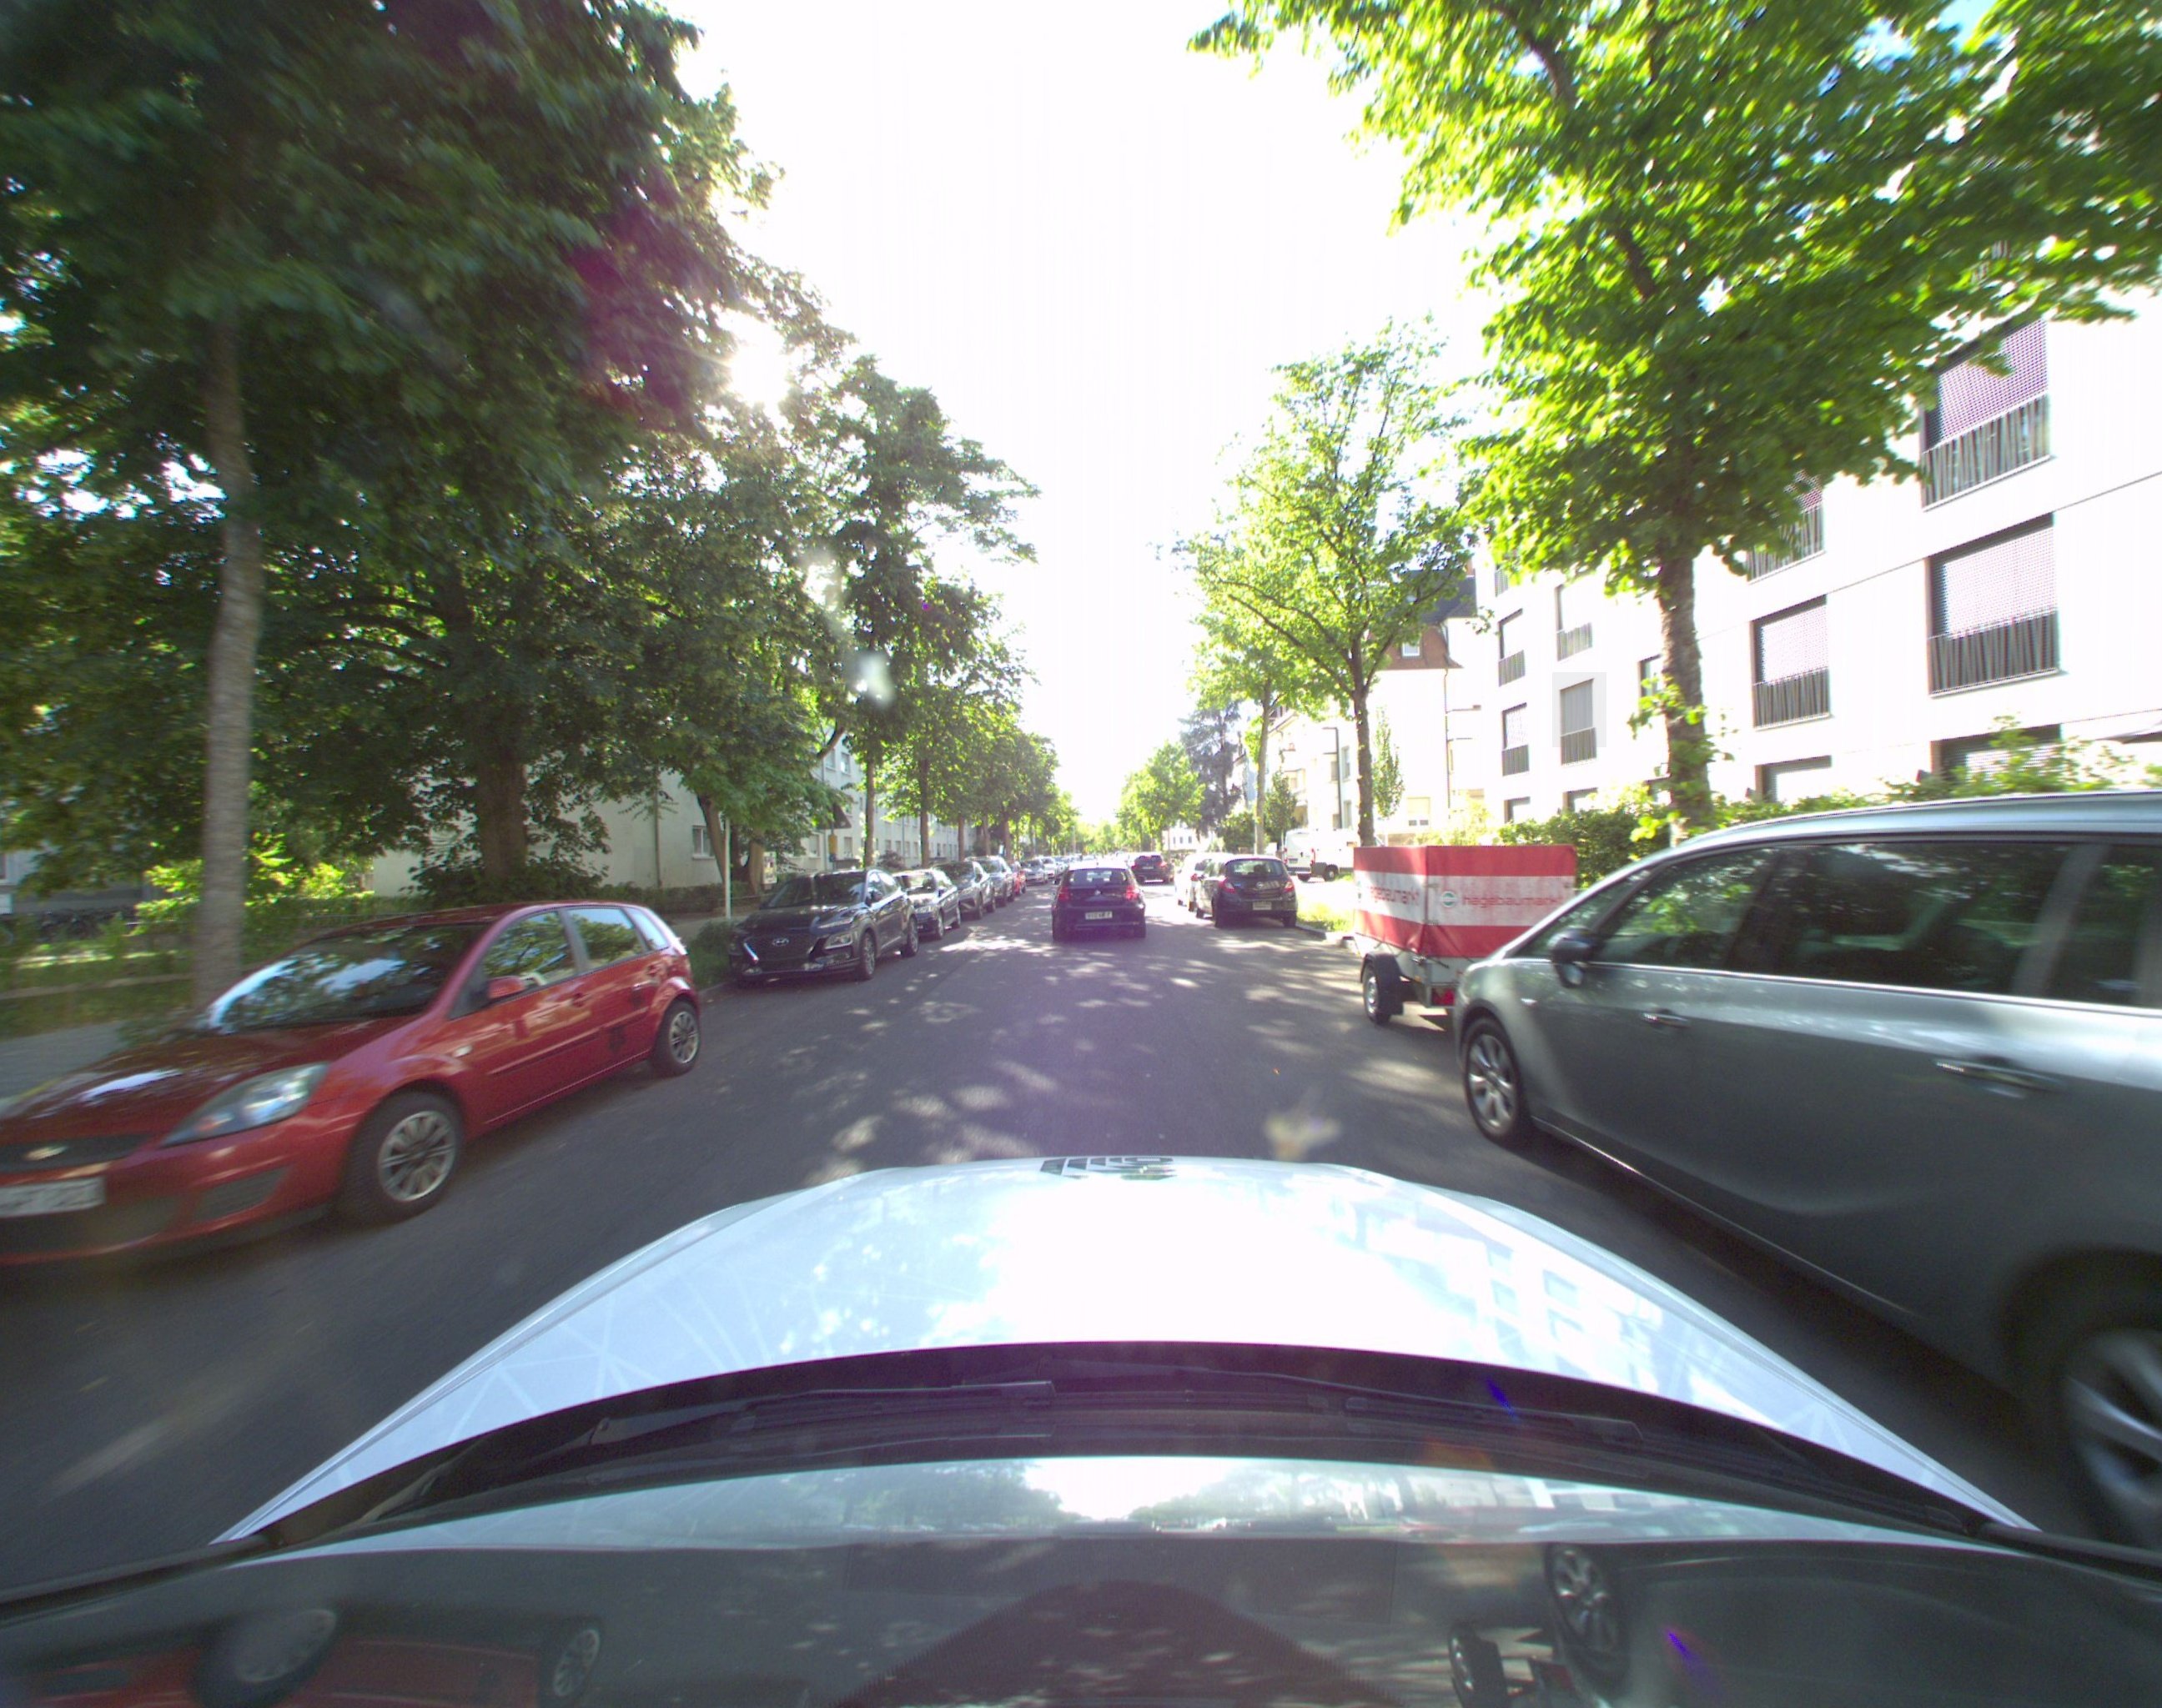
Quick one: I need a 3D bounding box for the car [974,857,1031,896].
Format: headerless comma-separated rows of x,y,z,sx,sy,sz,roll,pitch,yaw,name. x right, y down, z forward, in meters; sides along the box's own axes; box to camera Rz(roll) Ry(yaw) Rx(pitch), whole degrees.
-3.272,0.896,34.649,1.849,1.469,4.183,-2,0,1,car

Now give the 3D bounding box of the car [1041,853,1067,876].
-2.150,0.833,65.695,1.723,1.618,4.366,-6,0,0,car

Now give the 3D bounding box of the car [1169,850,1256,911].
3.552,0.678,22.716,1.727,1.487,4.008,-2,0,-1,car

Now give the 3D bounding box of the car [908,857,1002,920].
-3.449,0.893,23.152,1.762,1.531,4.422,-2,0,2,car

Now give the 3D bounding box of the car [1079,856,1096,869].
0.739,0.975,94.845,1.803,1.445,4.366,-4,0,0,car

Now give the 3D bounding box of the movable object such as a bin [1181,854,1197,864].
11.094,0.500,83.500,1.211,0.904,1.673,-2,0,22,movable object such as a bin

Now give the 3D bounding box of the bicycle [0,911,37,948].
-33.541,2.345,24.980,1.955,1.052,0.727,-2,0,-3,bicycle

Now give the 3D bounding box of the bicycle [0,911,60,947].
-33.617,2.375,25.690,1.955,1.052,0.561,-2,0,-3,bicycle

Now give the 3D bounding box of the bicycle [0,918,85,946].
-33.672,2.534,26.391,1.955,0.774,0.561,-2,0,-3,bicycle

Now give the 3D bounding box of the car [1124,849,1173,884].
3.175,0.589,39.176,1.889,1.524,4.966,-2,-1,0,car

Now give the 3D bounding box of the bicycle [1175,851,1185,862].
11.650,0.288,95.867,0.836,1.257,2.229,-2,0,-2,bicycle

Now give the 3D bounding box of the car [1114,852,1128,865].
6.288,0.646,128.551,1.964,1.949,4.985,-2,0,1,car

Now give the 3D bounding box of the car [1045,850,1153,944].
0.284,0.735,15.999,1.777,1.523,3.998,-3,0,-1,car

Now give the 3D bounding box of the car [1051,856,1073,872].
-1.811,0.968,78.162,1.773,1.379,4.264,-4,0,2,car

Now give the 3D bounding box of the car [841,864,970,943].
-3.645,0.970,17.723,1.779,1.352,4.481,-3,0,0,car

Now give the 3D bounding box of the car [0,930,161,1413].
-4.024,0.992,0.695,1.649,1.373,4.188,-3,0,0,car

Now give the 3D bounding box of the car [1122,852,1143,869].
4.952,0.595,78.728,1.918,1.651,5.099,0,0,3,car

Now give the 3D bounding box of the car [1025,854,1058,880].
-2.564,0.819,53.947,2.058,1.524,4.718,-2,0,-2,car

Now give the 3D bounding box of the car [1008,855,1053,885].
-2.789,0.883,46.106,2.035,1.524,4.608,-2,0,2,car

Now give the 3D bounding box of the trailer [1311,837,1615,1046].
3.345,0.659,7.782,1.568,1.579,3.195,0,0,3,trailer

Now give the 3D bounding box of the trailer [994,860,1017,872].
-7.423,1.180,80.419,1.781,1.034,3.284,-2,0,3,trailer

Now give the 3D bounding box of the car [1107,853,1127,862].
7.574,0.735,170.200,3.978,1.587,1.725,-2,0,-3,car

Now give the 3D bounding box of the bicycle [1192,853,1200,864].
11.314,0.424,79.988,0.579,0.975,1.905,-3,0,3,bicycle

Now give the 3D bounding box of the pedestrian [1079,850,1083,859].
-0.032,0.134,182.056,0.711,1.900,0.838,-2,0,6,pedestrian

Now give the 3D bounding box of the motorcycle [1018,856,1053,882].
-2.805,0.928,49.971,0.994,1.503,2.208,-3,0,-39,motorcycle

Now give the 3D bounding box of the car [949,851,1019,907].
-3.270,0.796,28.388,1.762,1.688,4.814,-3,0,0,car

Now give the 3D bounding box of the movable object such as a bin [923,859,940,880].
-10.209,1.051,55.733,0.928,1.324,1.377,-3,0,-4,movable object such as a bin

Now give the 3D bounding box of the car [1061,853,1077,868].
-1.450,0.776,98.620,1.805,1.596,4.233,-3,0,1,car

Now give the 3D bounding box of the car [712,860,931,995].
-3.682,0.947,12.509,1.699,1.577,4.484,-3,0,2,car

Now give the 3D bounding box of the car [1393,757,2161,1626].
2.961,0.636,3.076,1.786,1.643,4.819,0,0,1,car

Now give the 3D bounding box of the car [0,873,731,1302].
-3.966,0.959,5.169,1.649,1.505,4.068,-3,0,0,car

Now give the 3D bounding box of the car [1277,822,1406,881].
11.398,-0.136,35.650,5.061,2.306,2.218,-2,0,-23,car

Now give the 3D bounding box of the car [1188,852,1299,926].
3.477,0.689,18.145,1.665,1.450,4.178,0,0,0,car

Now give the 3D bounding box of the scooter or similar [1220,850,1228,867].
10.444,0.354,59.480,0.398,1.185,1.211,-3,0,16,scooter or similar

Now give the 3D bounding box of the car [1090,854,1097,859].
3.796,0.817,247.667,1.779,1.609,3.995,-3,0,-3,car
